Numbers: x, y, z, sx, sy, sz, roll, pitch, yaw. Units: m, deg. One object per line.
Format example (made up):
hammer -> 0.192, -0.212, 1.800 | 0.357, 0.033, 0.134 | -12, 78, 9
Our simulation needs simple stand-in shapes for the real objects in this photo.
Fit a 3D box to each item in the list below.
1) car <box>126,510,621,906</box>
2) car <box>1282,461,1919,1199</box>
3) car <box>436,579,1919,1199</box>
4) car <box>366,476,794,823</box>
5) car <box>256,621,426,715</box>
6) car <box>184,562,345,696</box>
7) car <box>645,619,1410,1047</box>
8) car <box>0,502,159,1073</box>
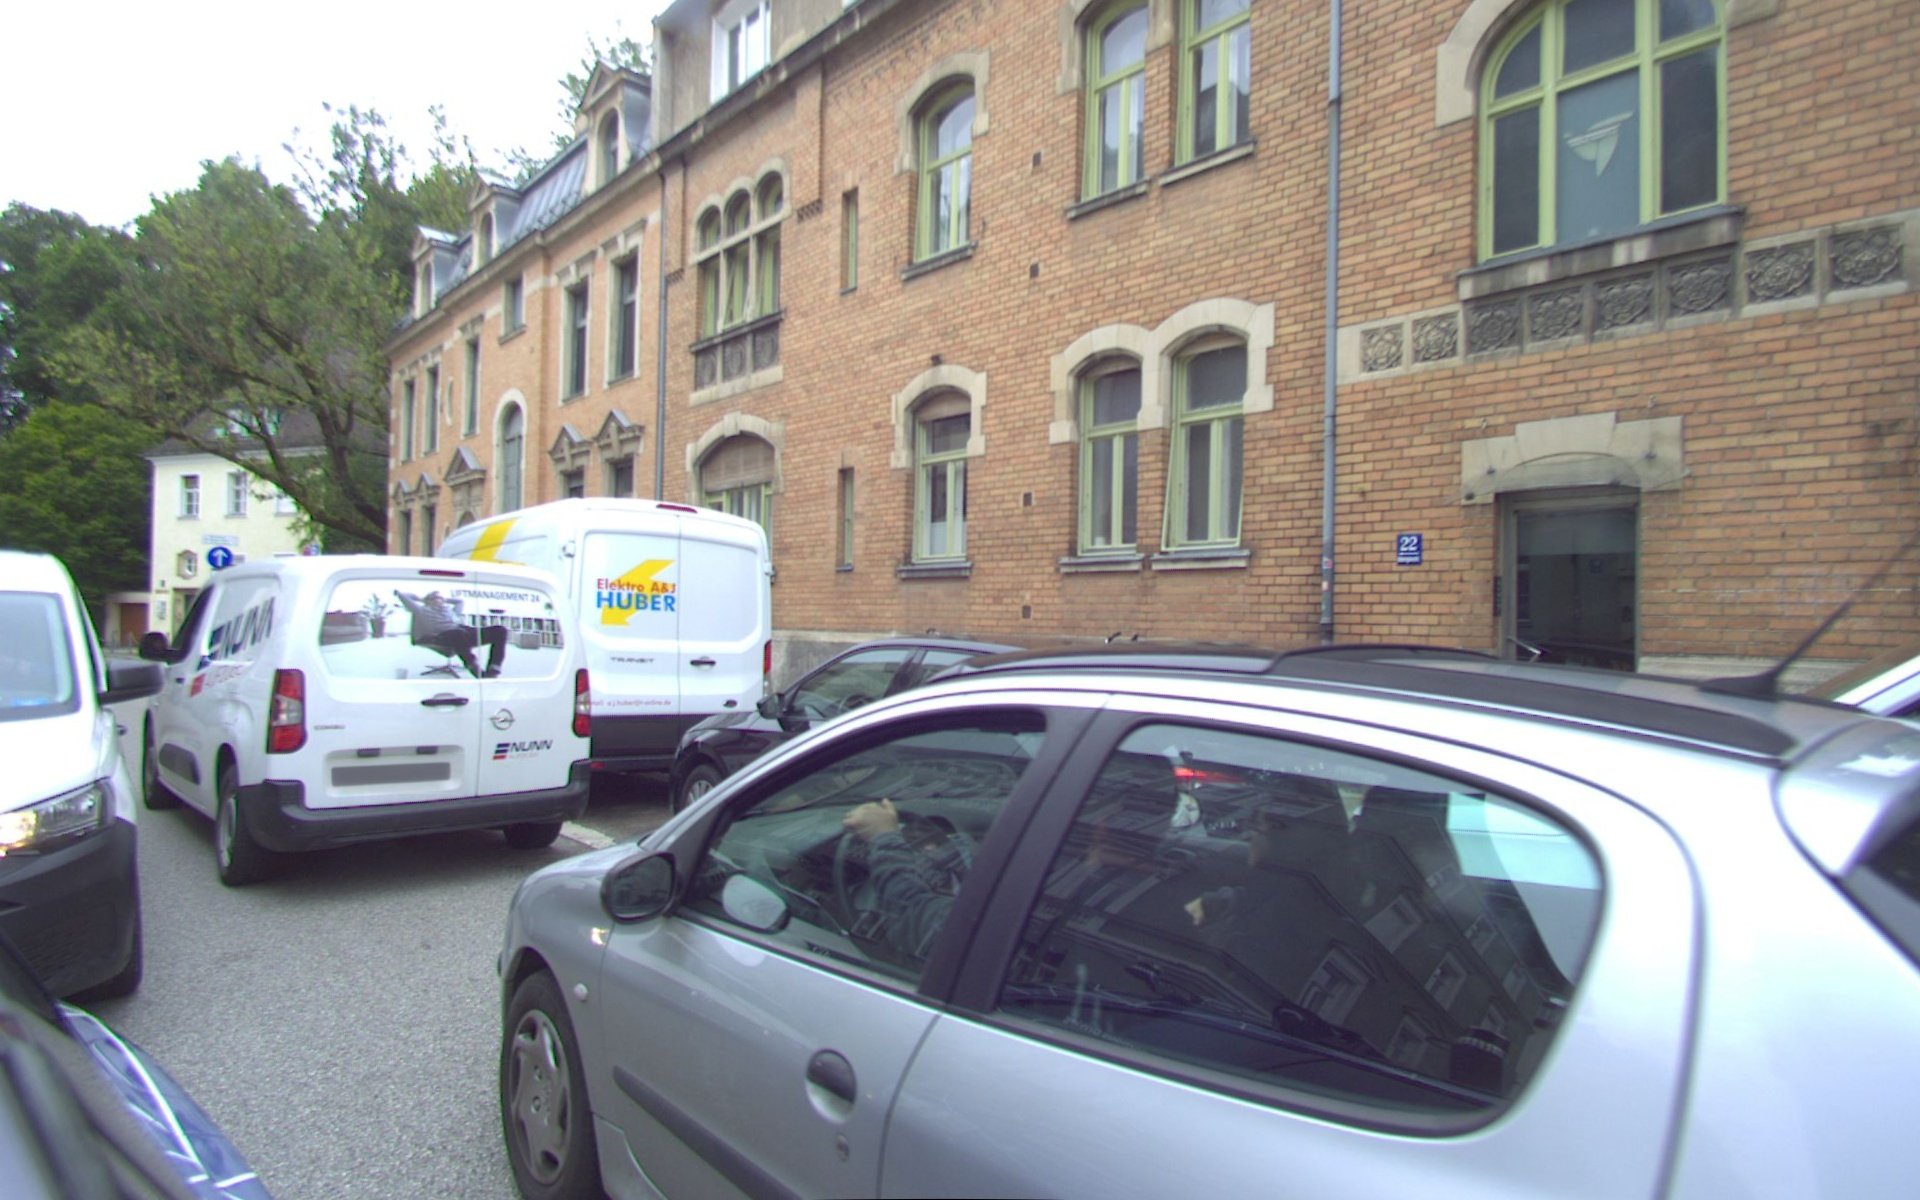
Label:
car -> -4.238, 0.556, 6.909 | 4.574, 1.817, 1.751 | -1, -3, 45
car -> 3.036, 0.651, 2.211 | 1.670, 1.817, 4.148 | 4, -4, -44
car -> 0.348, 0.721, 2.035 | 1.562, 1.422, 3.616 | 2, -2, -43
car -> -3.952, 0.418, 9.872 | 1.958, 2.497, 5.228 | 4, -3, -43
car -> -10.845, 1.128, 17.625 | 1.670, 1.454, 3.987 | 4, -4, -43
car -> -14.957, 0.666, 21.673 | 2.088, 2.560, 4.425 | 6, -5, -42
car -> 0.035, 0.867, 5.570 | 1.670, 1.454, 4.149 | 4, -4, -43
car -> -4.735, 0.588, 4.302 | 1.750, 1.785, 4.005 | 3, -3, -42
